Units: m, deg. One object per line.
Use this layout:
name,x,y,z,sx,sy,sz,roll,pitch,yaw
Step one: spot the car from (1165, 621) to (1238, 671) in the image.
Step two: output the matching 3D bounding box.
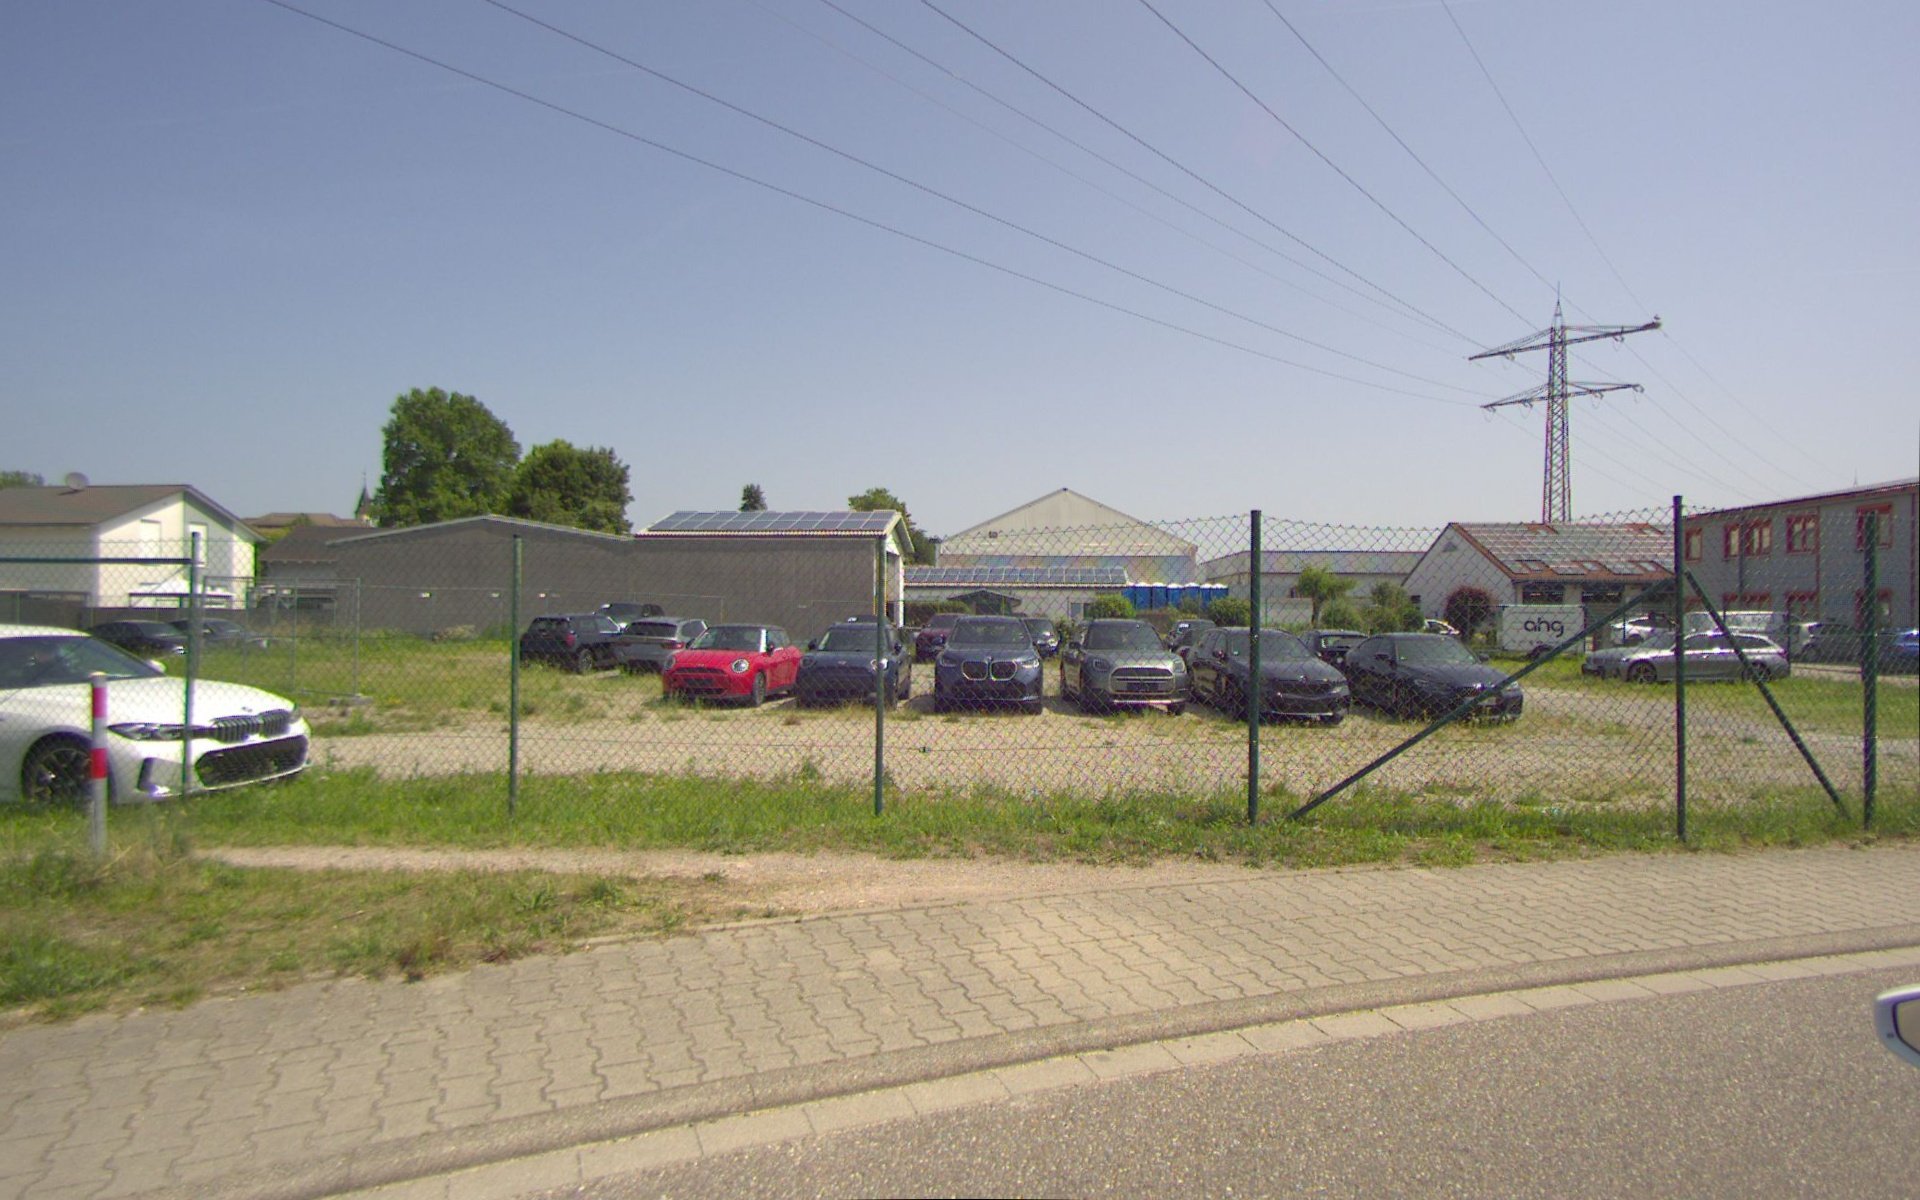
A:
car,8.228,1.528,34.501,1.831,1.575,3.772,1,-1,4

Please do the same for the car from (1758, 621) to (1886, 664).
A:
car,32.948,1.598,38.467,3.531,1.564,1.508,1,-1,4

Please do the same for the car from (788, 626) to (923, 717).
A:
car,-1.810,1.236,18.539,1.831,1.452,3.651,1,-1,4

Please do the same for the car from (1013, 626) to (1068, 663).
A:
car,2.871,1.557,36.232,1.831,1.191,4.606,1,-1,4

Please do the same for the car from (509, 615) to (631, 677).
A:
car,-9.716,1.114,25.282,1.832,1.433,3.440,1,-1,-3

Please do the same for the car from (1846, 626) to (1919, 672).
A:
car,31.270,1.587,32.636,3.531,1.435,1.508,1,-1,4

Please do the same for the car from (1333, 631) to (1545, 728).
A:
car,8.572,1.351,18.509,1.961,1.454,4.668,1,-1,4

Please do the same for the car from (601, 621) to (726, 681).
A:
car,-7.032,1.171,24.181,1.831,1.315,3.442,1,-1,2

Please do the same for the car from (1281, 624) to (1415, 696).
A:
car,8.934,1.322,23.534,1.961,1.454,4.424,1,-1,8

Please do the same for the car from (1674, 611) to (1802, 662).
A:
car,32.047,1.481,41.453,3.828,2.005,1.824,1,-1,4

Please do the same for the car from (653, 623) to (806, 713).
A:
car,-4.175,1.197,18.764,1.831,1.473,3.443,1,-1,4

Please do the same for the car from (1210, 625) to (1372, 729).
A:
car,5.663,1.251,17.666,1.831,1.575,3.772,1,-1,4

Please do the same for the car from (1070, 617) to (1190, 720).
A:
car,3.026,1.171,18.524,1.831,1.665,3.636,1,-1,4

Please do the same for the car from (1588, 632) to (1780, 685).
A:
car,18.926,1.510,26.365,4.059,1.277,1.236,1,-1,3

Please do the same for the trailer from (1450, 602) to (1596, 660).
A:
trailer,20.304,1.092,36.447,4.374,1.971,1.714,0,-1,19

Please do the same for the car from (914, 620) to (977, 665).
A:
car,-0.449,1.441,35.561,1.831,1.452,4.606,1,-1,4

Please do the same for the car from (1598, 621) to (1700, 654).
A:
car,33.138,1.799,48.375,3.828,1.536,1.508,1,-1,4

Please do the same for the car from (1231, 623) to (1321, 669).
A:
car,10.909,1.555,34.984,1.961,1.454,4.668,1,-1,4

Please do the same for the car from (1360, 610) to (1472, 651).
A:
car,19.158,1.270,42.360,3.919,1.619,1.878,1,-1,6

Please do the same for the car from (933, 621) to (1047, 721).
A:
car,0.622,1.191,18.134,1.831,1.582,3.699,1,-1,4

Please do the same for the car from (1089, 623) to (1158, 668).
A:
car,5.693,1.548,35.432,1.961,1.454,4.668,1,-1,4

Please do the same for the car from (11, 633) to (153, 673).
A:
car,-30.439,1.833,34.879,3.535,1.252,1.795,1,-1,7

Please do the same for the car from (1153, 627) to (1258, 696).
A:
car,5.778,1.409,24.083,1.959,1.439,4.002,0,-1,6

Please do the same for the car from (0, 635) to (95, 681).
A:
car,-28.913,1.727,30.381,4.051,1.252,1.795,1,-1,5

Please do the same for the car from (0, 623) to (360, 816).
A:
car,-7.777,0.881,8.381,4.470,1.324,1.869,1,-1,5
